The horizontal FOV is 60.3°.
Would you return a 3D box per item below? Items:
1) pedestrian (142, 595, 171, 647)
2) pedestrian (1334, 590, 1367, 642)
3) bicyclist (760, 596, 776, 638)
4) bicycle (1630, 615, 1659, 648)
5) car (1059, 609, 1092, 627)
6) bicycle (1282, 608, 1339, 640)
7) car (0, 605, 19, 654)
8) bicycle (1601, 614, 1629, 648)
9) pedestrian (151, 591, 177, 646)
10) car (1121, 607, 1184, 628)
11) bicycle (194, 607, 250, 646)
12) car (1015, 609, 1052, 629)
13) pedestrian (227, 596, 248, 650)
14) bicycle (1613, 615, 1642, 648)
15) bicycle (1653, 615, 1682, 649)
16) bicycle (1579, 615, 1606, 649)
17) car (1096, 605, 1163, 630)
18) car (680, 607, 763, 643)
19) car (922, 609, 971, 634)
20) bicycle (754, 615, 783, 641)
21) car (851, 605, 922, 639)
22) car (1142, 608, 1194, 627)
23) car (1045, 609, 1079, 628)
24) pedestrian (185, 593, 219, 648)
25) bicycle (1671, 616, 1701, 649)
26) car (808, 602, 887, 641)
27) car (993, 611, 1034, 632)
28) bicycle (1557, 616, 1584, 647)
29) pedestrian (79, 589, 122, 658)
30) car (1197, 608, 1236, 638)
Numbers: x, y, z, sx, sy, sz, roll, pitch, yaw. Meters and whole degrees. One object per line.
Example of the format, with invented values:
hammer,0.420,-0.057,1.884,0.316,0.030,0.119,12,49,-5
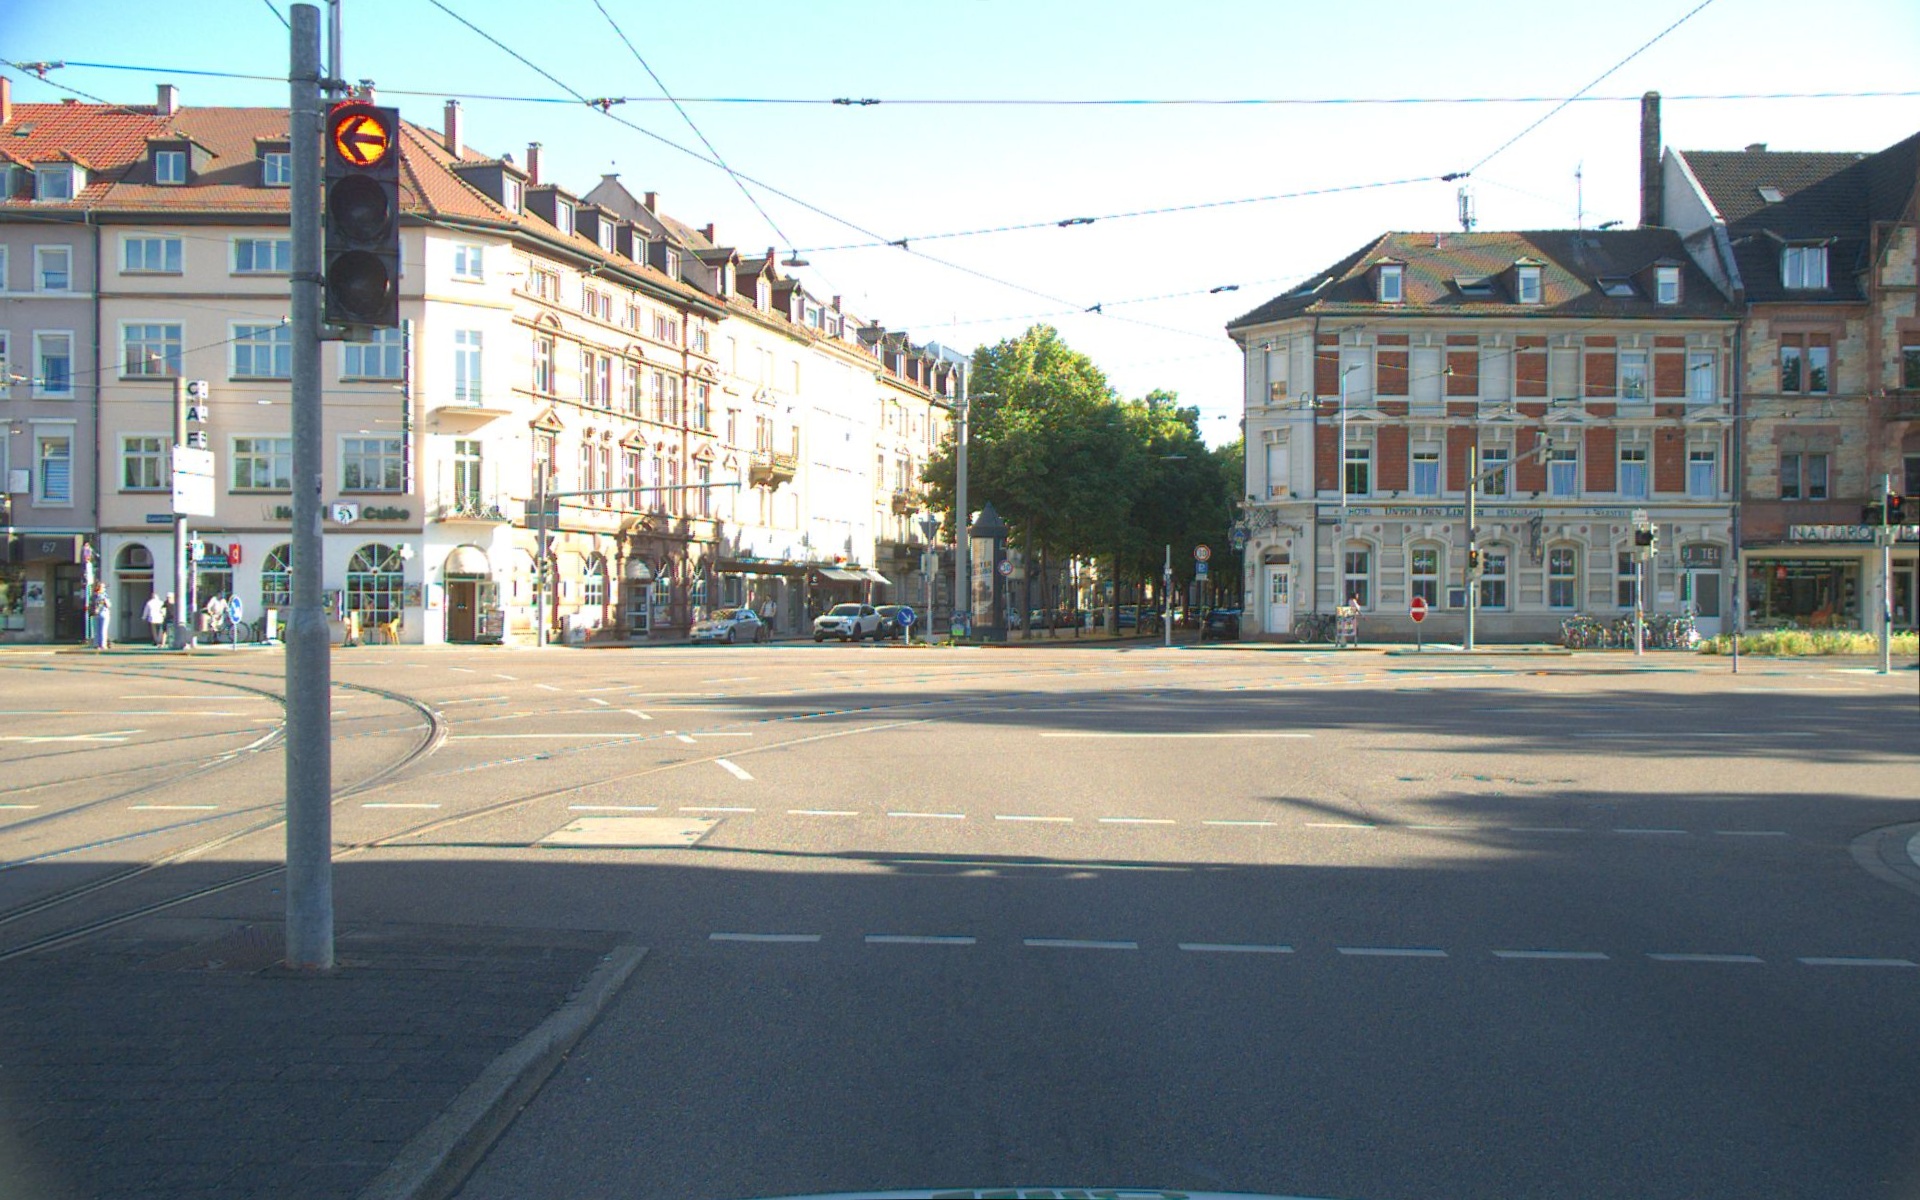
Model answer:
pedestrian,-26.655,0.692,54.877,0.727,1.711,0.626,0,0,-12
pedestrian,13.343,0.553,56.490,1.013,1.741,0.630,1,-1,8
bicyclist,-7.548,0.653,65.067,0.479,1.629,0.667,0,0,9
bicycle,22.110,1.016,53.482,0.476,1.038,1.785,0,0,9
car,9.566,1.475,136.727,1.951,1.429,4.172,0,0,15
bicycle,12.176,0.827,57.515,1.911,1.072,0.716,0,0,9
car,-32.127,0.905,52.319,3.651,1.517,1.818,1,0,2
bicycle,21.163,1.000,53.486,0.476,1.038,1.785,0,0,9
pedestrian,-24.952,0.586,51.833,0.731,1.711,0.623,0,0,-26
car,12.313,1.137,105.564,3.902,1.311,1.696,0,0,10
bicycle,-25.208,0.905,56.516,1.684,1.299,0.385,0,0,-18
car,5.471,1.374,122.641,1.951,1.429,4.172,0,0,15
pedestrian,-17.232,0.546,39.453,0.358,1.275,0.449,0,0,-12
bicycle,21.612,1.008,53.554,0.476,1.038,1.785,0,0,9
bicycle,22.905,1.030,53.562,0.476,1.038,1.785,0,0,9
bicycle,20.473,1.021,53.577,0.476,1.038,1.785,0,0,9
car,10.247,1.035,99.825,3.902,1.480,1.683,0,0,10
car,-9.600,0.985,66.881,1.951,1.385,3.821,0,0,15
car,-0.822,1.315,102.057,1.951,1.429,4.172,0,0,15
bicycle,-7.557,1.098,65.167,0.641,1.018,1.666,1,0,11
car,-3.227,0.952,73.579,1.951,1.429,4.172,0,0,15
car,14.042,1.146,111.663,3.360,1.261,1.578,0,0,10
car,8.137,1.429,131.509,1.951,1.429,4.172,0,0,15
pedestrian,-23.709,0.623,51.748,0.613,1.711,0.743,0,0,20
bicycle,23.590,1.043,53.745,0.476,1.038,1.785,0,0,9
car,-4.531,0.847,67.387,1.951,1.542,4.172,0,0,15
car,3.812,1.481,116.895,1.951,1.429,4.172,0,0,15
bicycle,19.804,1.014,53.654,0.476,0.930,1.785,0,0,9
pedestrian,-21.389,0.574,41.174,0.725,1.711,0.628,0,0,-1
car,12.852,1.139,82.707,1.717,1.445,4.003,0,0,12
